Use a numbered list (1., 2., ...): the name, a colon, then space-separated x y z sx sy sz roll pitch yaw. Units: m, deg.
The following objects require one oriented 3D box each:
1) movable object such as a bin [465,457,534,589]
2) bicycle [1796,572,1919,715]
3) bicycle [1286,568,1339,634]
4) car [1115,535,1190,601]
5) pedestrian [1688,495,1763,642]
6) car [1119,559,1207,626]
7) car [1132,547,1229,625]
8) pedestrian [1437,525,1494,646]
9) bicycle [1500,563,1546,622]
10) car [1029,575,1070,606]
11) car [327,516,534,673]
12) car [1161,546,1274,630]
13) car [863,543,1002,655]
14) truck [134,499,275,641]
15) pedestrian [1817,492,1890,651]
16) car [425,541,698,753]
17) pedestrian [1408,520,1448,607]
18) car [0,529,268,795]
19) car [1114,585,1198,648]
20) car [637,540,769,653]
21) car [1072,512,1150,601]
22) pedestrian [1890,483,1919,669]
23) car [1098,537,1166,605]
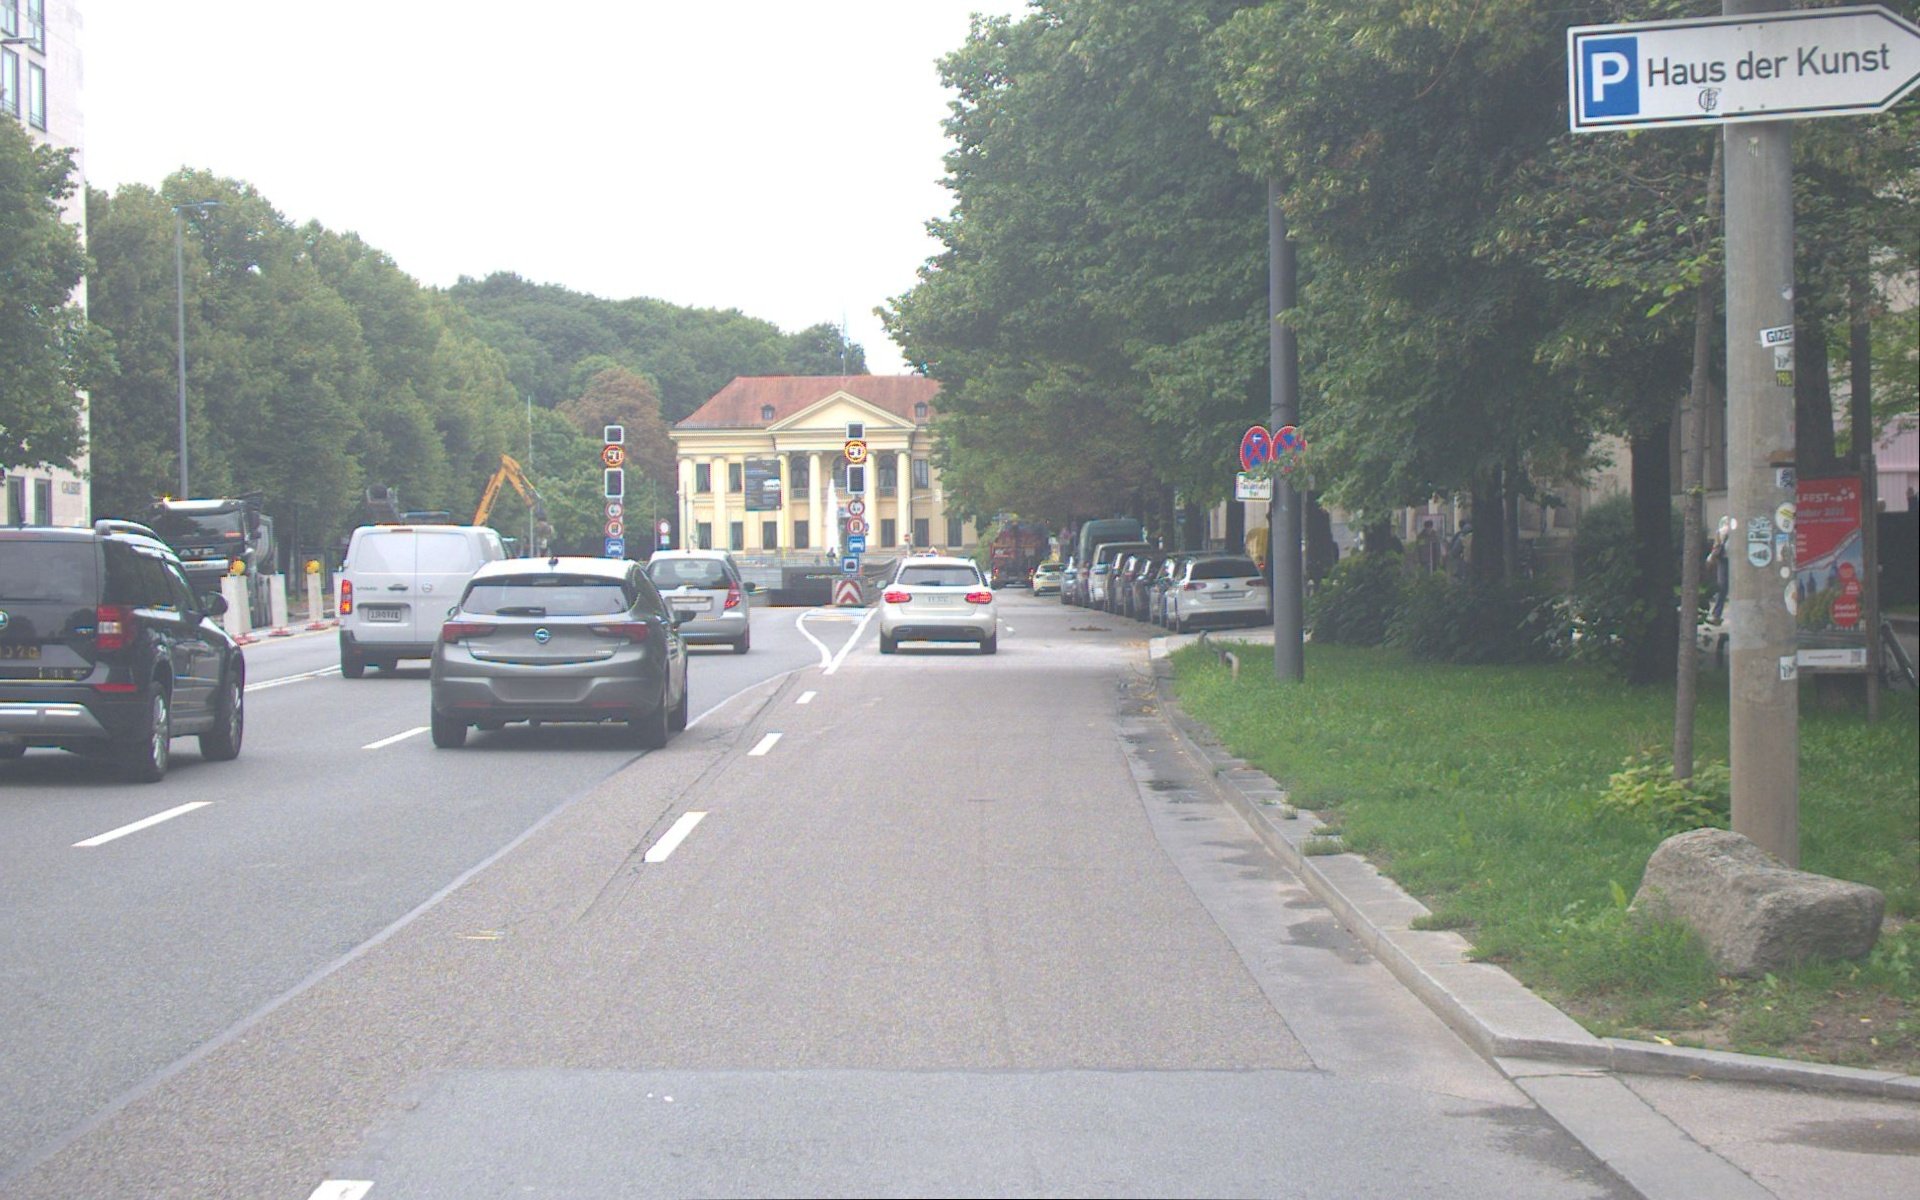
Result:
1. movable object such as a bin: -23.086 -3.844 172.454 2.699 6.488 5.176 1 0 0
2. bicycle: 6.717 0.304 25.782 0.384 1.018 2.079 1 1 0
3. bicycle: 6.708 0.013 65.479 0.628 1.227 2.619 1 1 -2
4. car: 5.068 -0.845 90.835 1.724 1.659 4.589 -1 0 0
5. pedestrian: 10.758 -0.437 48.322 0.763 2.007 0.776 -3 0 0
6. car: 4.624 -0.188 78.808 1.724 1.459 4.776 -1 0 0
7. car: 4.584 -0.299 72.021 1.724 1.544 4.585 -1 0 0
8. pedestrian: 8.047 -0.235 54.733 0.779 1.904 0.771 1 0 0
9. bicycle: 13.757 -0.189 84.060 0.699 1.410 2.299 -1 0 0
10. car: 3.935 -0.424 151.826 1.724 1.319 4.028 -1 0 0
11. car: -6.617 -0.080 43.428 1.898 1.841 4.956 -1 0 -1
12. car: 4.964 -0.250 66.851 1.827 1.544 4.751 -1 0 0
13. car: -0.466 -0.036 52.992 1.779 1.639 4.001 1 1 -5
14. truck: -18.781 -0.762 85.902 2.840 3.345 8.767 1 1 -9
15. pedestrian: 10.110 -0.324 38.920 0.630 1.768 0.782 1 0 3
16. car: -3.098 0.325 27.429 1.710 1.547 4.000 1 1 0
17. pedestrian: 10.352 -0.814 76.018 0.764 1.904 0.771 1 0 0
18. car: -5.964 0.378 23.346 1.722 1.631 4.205 -1 0 -1
19. car: 4.790 0.393 84.315 1.822 1.459 4.028 -1 0 0
20. car: -3.917 -0.071 52.857 1.779 1.648 4.000 1 1 -1
21. car: 4.595 -1.331 105.019 1.993 2.634 4.878 1 1 -2
22. pedestrian: 8.849 -0.216 31.223 0.607 1.675 0.753 1 0 3
23. car: 4.886 -0.825 97.916 1.724 1.861 4.028 -1 0 0
